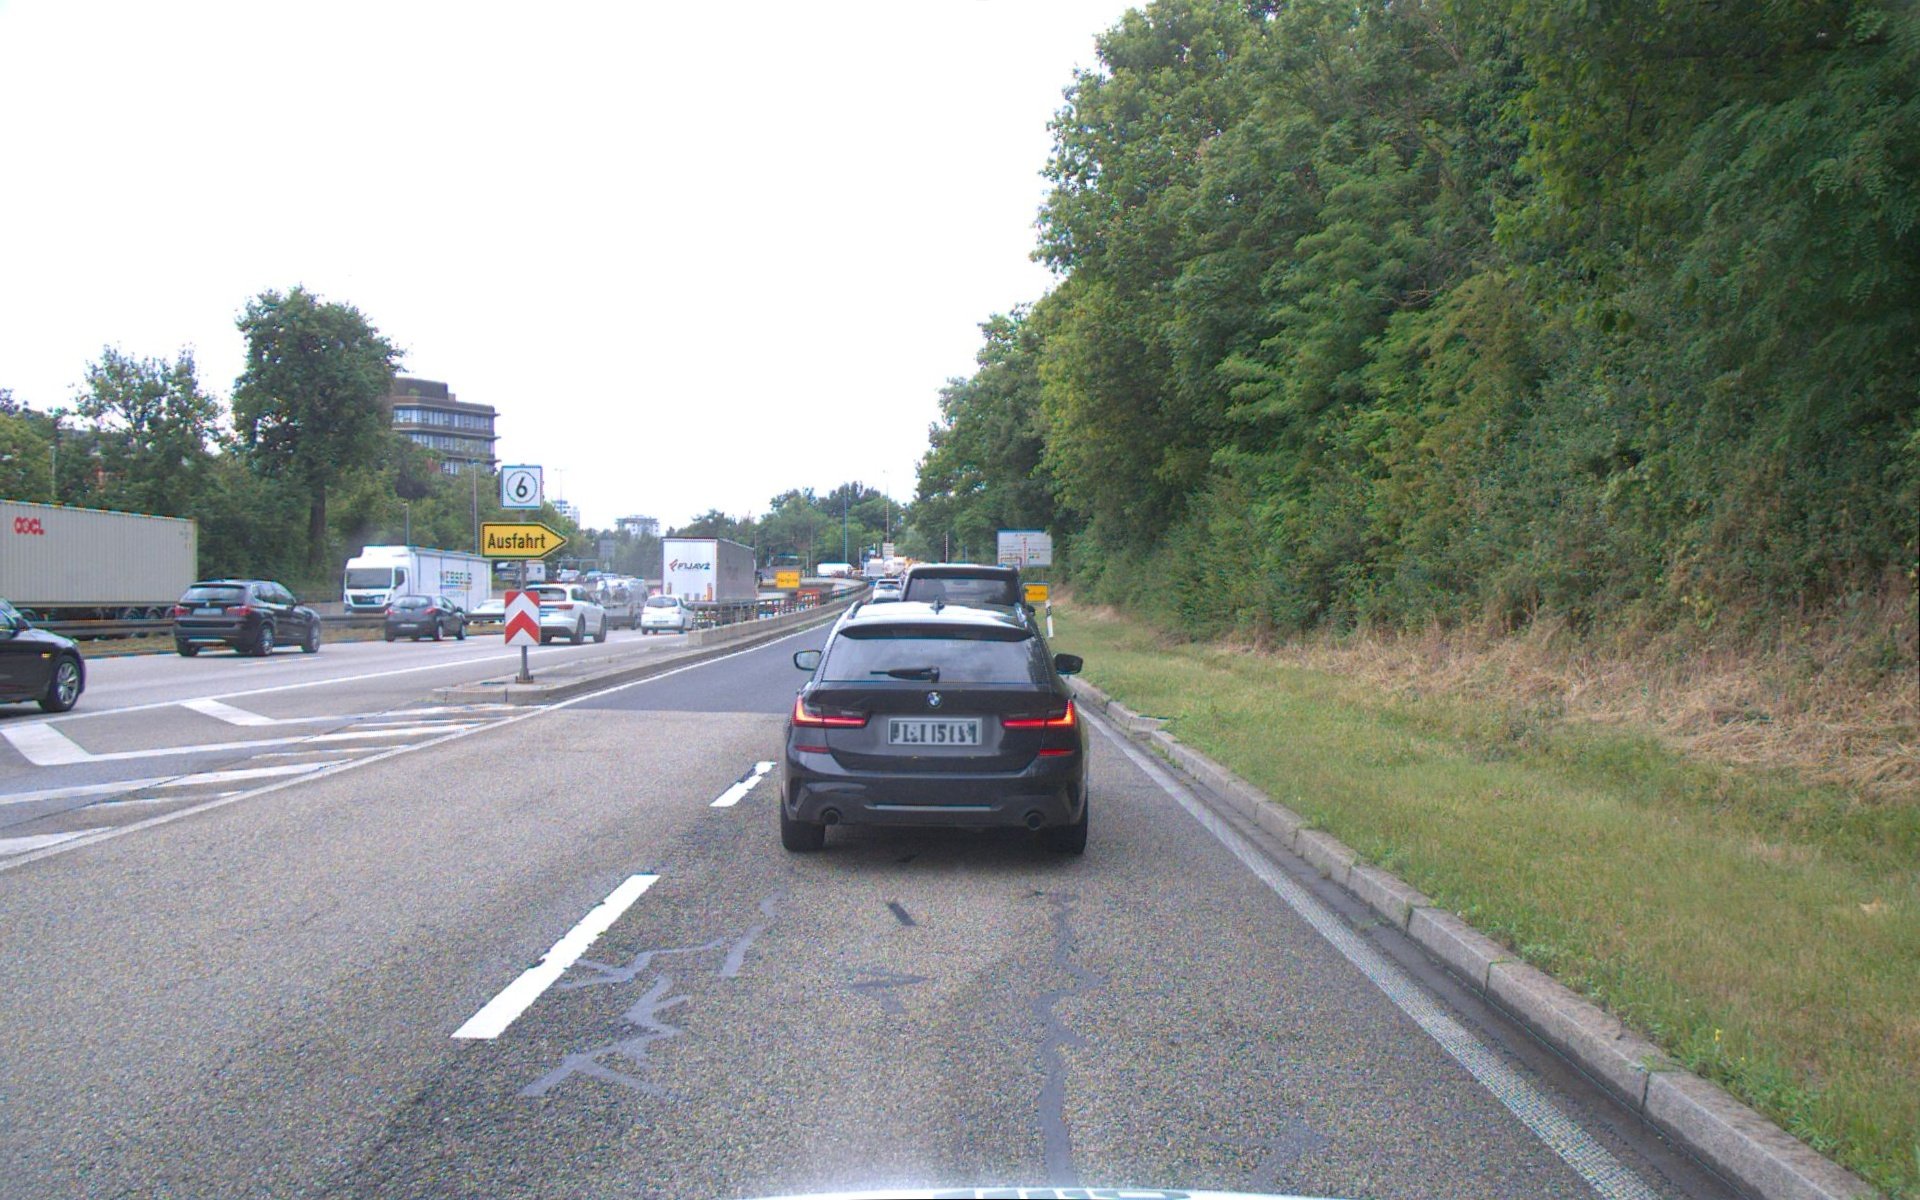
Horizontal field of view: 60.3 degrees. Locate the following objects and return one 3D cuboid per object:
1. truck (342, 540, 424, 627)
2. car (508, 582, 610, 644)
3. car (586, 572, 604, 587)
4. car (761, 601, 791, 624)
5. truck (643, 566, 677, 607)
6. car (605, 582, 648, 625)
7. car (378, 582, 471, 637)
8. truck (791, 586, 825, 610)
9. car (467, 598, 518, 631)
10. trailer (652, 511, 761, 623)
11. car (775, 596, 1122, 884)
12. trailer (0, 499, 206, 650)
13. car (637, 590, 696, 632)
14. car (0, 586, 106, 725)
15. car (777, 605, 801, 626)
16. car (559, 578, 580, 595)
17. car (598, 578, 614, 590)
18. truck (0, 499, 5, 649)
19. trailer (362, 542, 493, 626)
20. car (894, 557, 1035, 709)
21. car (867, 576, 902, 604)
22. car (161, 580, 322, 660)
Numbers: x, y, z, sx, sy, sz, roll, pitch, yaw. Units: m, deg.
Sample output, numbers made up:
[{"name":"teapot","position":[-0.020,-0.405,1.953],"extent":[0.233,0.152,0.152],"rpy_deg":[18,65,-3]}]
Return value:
[{"name":"truck","position":[-27.432,-0.783,78.822],"extent":[2.543,4.060,3.999],"rpy_deg":[0,0,-1]},{"name":"car","position":[-11.544,0.341,47.947],"extent":[1.906,1.721,4.506],"rpy_deg":[0,0,-1]},{"name":"car","position":[-40.698,-2.319,184.431],"extent":[1.408,1.614,3.243],"rpy_deg":[0,0,-1]},{"name":"car","position":[-12.450,0.836,112.130],"extent":[1.667,1.555,3.469],"rpy_deg":[0,0,-1]},{"name":"truck","position":[-31.165,-1.379,171.827],"extent":[2.706,4.136,4.906],"rpy_deg":[0,0,-1]},{"name":"car","position":[-16.694,0.166,82.945],"extent":[1.414,2.080,3.680],"rpy_deg":[0,0,0]},{"name":"car","position":[-16.780,0.278,52.003],"extent":[1.653,1.636,4.007],"rpy_deg":[1,0,-2]},{"name":"truck","position":[-16.775,-0.207,183.040],"extent":[3.207,2.553,7.659],"rpy_deg":[0,0,-1]},{"name":"car","position":[-23.088,0.698,81.794],"extent":[1.565,1.612,3.563],"rpy_deg":[0,0,-1]},{"name":"trailer","position":[-11.924,-1.452,79.334],"extent":[3.069,4.807,14.556],"rpy_deg":[1,0,-1]},{"name":"car","position":[-0.126,0.722,10.640],"extent":[1.809,1.492,3.998],"rpy_deg":[0,0,-2]},{"name":"trailer","position":[-27.186,-0.728,50.330],"extent":[2.348,4.099,13.079],"rpy_deg":[0,0,1]},{"name":"car","position":[-11.293,0.406,63.844],"extent":[1.733,1.577,3.491],"rpy_deg":[0,0,-2]},{"name":"car","position":[-11.158,0.596,17.623],"extent":[1.677,1.482,4.666],"rpy_deg":[1,0,0]},{"name":"car","position":[-12.623,1.131,122.226],"extent":[1.418,1.516,3.062],"rpy_deg":[0,0,0]},{"name":"car","position":[-39.018,-1.352,165.358],"extent":[1.408,1.601,3.243],"rpy_deg":[0,0,-1]},{"name":"car","position":[-43.450,-1.971,202.959],"extent":[1.409,1.471,3.242],"rpy_deg":[0,0,-3]},{"name":"truck","position":[-27.252,-0.695,43.126],"extent":[2.356,4.091,4.000],"rpy_deg":[0,0,0]},{"name":"trailer","position":[-27.542,-0.808,86.391],"extent":[2.541,4.052,13.780],"rpy_deg":[0,0,-1]},{"name":"car","position":[0.049,0.411,22.898],"extent":[1.759,1.904,4.000],"rpy_deg":[0,0,0]},{"name":"car","position":[-4.462,-0.617,98.318],"extent":[1.891,1.624,3.877],"rpy_deg":[0,0,1]},{"name":"car","position":[-16.158,0.412,37.421],"extent":[1.852,1.711,4.305],"rpy_deg":[0,0,-2]}]
